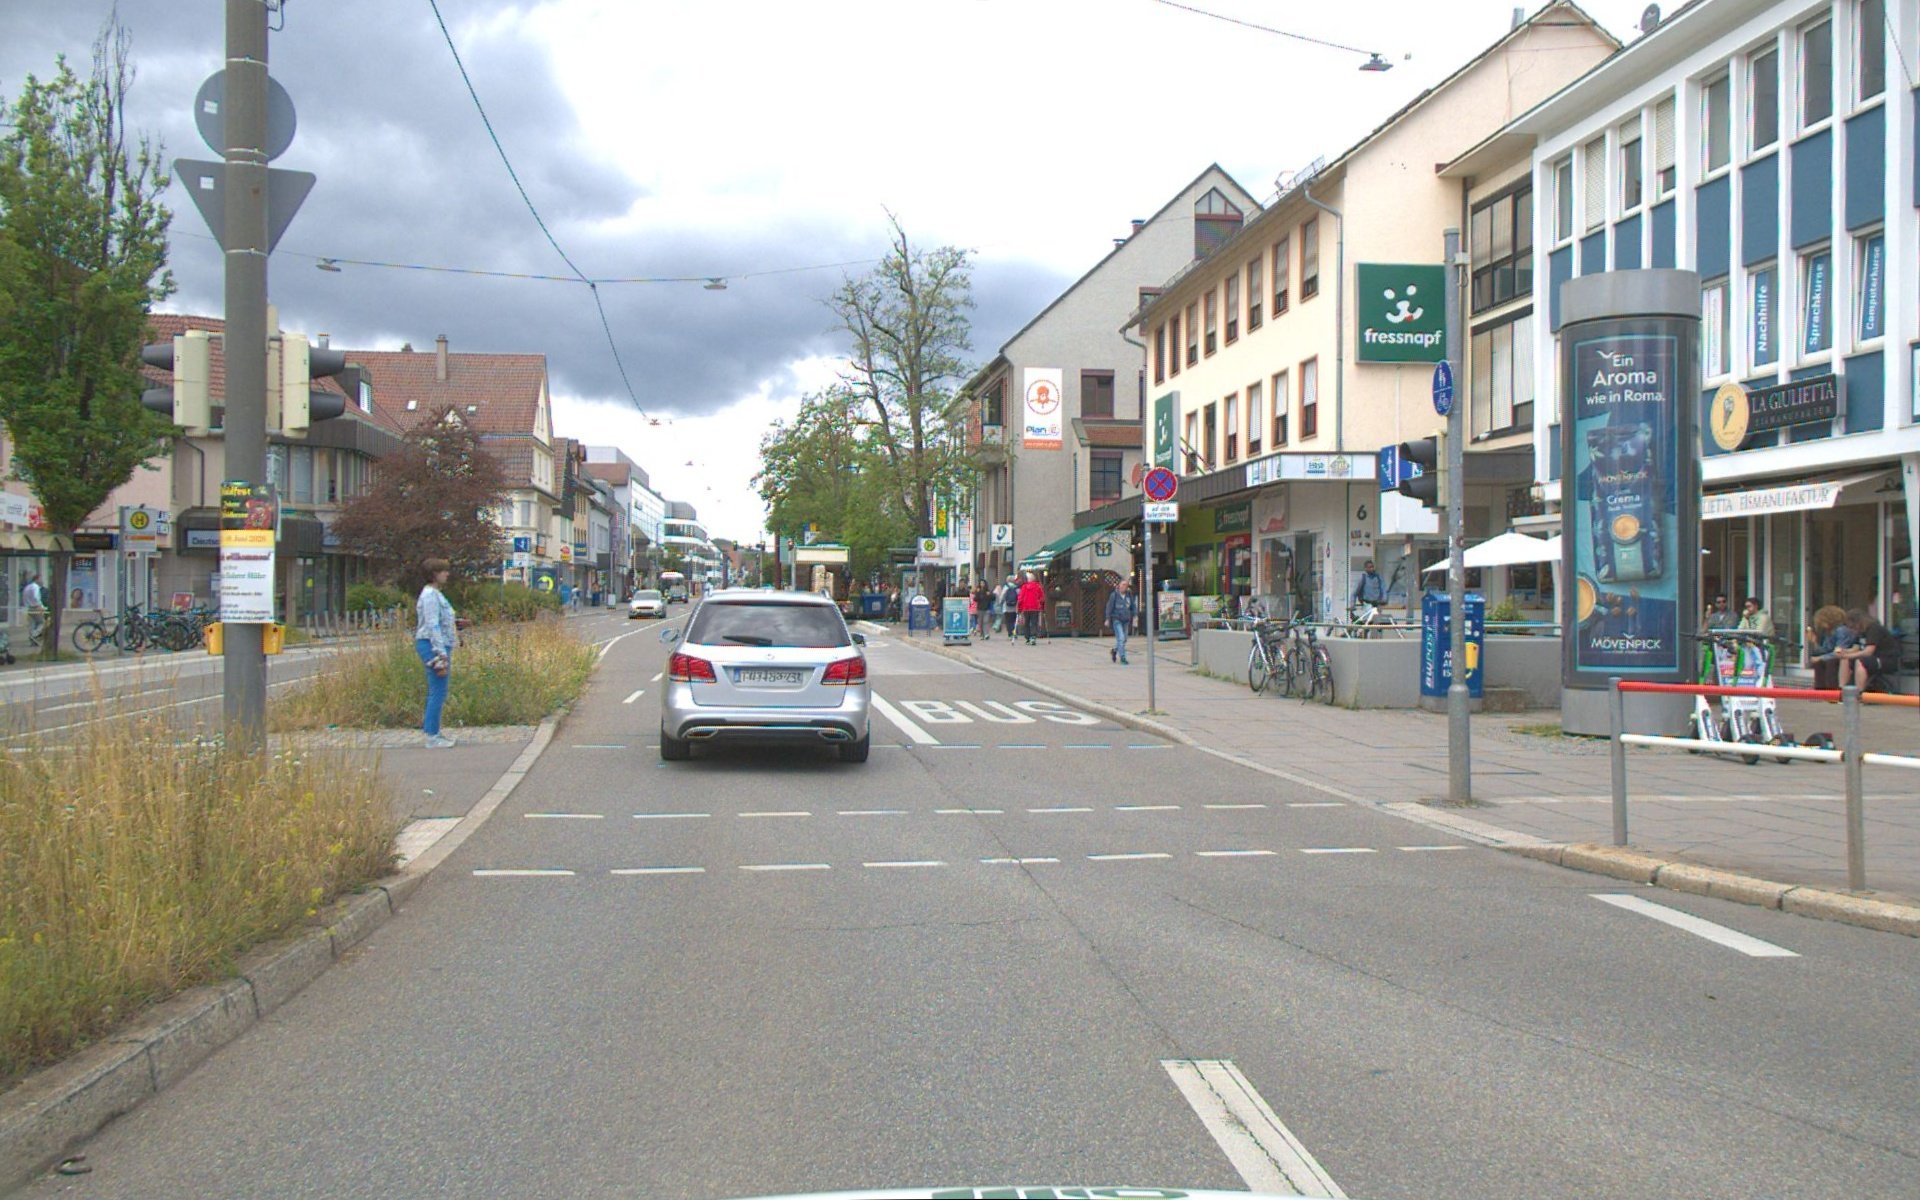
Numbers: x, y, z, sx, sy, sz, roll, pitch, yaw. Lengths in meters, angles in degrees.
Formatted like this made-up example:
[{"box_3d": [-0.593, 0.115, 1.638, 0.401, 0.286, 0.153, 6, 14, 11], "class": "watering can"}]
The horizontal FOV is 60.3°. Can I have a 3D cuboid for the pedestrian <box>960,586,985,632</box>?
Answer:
[{"box_3d": [0.438, 0.315, 60.234, 0.606, 1.663, 0.786, 0, 1, -29], "class": "pedestrian"}]

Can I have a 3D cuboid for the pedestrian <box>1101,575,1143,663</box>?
[{"box_3d": [3.095, 0.354, 31.657, 0.674, 1.663, 0.852, 0, 0, -4], "class": "pedestrian"}]

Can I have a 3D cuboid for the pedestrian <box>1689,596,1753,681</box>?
[{"box_3d": [11.472, 0.574, 24.944, 0.602, 1.241, 0.587, 3, 0, -10], "class": "pedestrian"}]

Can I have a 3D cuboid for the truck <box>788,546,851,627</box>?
[{"box_3d": [-6.823, -0.632, 79.379, 2.637, 3.623, 9.751, 0, 0, -7], "class": "truck"}]

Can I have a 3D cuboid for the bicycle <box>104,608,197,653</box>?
[{"box_3d": [-20.389, 0.767, 41.678, 1.982, 1.109, 0.647, 0, 0, -12], "class": "bicycle"}]

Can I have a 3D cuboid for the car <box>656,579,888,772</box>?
[{"box_3d": [-1.799, 0.608, 15.290, 1.839, 1.532, 3.992, 1, 0, -9], "class": "car"}]

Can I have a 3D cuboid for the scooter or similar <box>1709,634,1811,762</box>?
[{"box_3d": [7.762, 0.929, 16.092, 0.308, 1.152, 1.207, 0, 0, -6], "class": "scooter or similar"}]

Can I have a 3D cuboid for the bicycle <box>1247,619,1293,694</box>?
[{"box_3d": [4.359, 0.778, 23.311, 0.268, 0.991, 1.385, 0, 1, -6], "class": "bicycle"}]

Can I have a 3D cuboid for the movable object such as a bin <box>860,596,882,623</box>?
[{"box_3d": [-4.628, 0.498, 85.984, 1.121, 1.363, 1.374, 0, 0, -5], "class": "movable object such as a bin"}]

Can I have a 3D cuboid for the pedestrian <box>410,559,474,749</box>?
[{"box_3d": [-4.647, 0.466, 14.863, 0.494, 1.663, 0.661, 0, 0, -13], "class": "pedestrian"}]

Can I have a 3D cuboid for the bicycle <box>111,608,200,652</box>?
[{"box_3d": [-20.750, 0.763, 42.693, 1.985, 1.109, 0.646, 0, 0, -17], "class": "bicycle"}]

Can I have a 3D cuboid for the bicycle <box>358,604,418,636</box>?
[{"box_3d": [-20.417, 0.717, 59.105, 1.985, 1.109, 0.646, 0, 0, -17], "class": "bicycle"}]

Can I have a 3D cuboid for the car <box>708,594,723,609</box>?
[{"box_3d": [-26.600, 0.147, 180.156, 1.541, 1.567, 2.954, 2, 0, -9], "class": "car"}]

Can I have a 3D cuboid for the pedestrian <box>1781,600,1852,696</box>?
[{"box_3d": [11.420, 0.631, 22.052, 0.602, 1.241, 0.587, -1, 1, -9], "class": "pedestrian"}]

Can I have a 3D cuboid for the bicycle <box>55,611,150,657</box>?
[{"box_3d": [-21.053, 0.828, 40.657, 1.989, 1.109, 0.645, 1, 0, -21], "class": "bicycle"}]

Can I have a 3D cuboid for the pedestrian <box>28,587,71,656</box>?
[{"box_3d": [-24.415, 0.579, 44.360, 0.712, 1.794, 0.754, 3, 0, -9], "class": "pedestrian"}]

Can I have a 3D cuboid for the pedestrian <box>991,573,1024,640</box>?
[{"box_3d": [1.297, 0.186, 44.885, 0.670, 1.772, 0.779, -2, -1, -12], "class": "pedestrian"}]

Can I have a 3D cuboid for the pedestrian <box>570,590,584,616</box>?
[{"box_3d": [-25.141, 0.165, 108.498, 0.802, 1.663, 0.977, 2, 0, -12], "class": "pedestrian"}]

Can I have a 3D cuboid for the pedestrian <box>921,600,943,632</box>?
[{"box_3d": [-1.073, 0.607, 62.582, 0.699, 1.186, 0.586, 1, 1, -14], "class": "pedestrian"}]

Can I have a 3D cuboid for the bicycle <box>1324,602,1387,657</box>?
[{"box_3d": [7.316, 0.535, 30.640, 0.270, 0.991, 1.374, 0, 1, -29], "class": "bicycle"}]

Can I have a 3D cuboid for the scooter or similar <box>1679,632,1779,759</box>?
[{"box_3d": [7.428, 0.901, 16.018, 0.308, 1.152, 1.207, 0, 0, -6], "class": "scooter or similar"}]

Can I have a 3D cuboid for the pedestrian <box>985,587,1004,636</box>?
[{"box_3d": [1.197, 0.394, 56.980, 0.575, 1.663, 0.614, 0, 0, -6], "class": "pedestrian"}]

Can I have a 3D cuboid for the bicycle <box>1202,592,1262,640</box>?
[{"box_3d": [6.436, 0.362, 39.243, 0.727, 1.081, 2.346, -1, 0, -9], "class": "bicycle"}]

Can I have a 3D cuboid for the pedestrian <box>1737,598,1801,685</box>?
[{"box_3d": [11.876, 0.605, 24.289, 0.602, 1.241, 0.587, 1, 0, -9], "class": "pedestrian"}]

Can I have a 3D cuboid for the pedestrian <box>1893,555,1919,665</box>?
[{"box_3d": [13.234, 0.143, 22.557, 0.601, 1.486, 0.587, 3, 0, -8], "class": "pedestrian"}]

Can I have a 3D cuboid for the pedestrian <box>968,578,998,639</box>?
[{"box_3d": [0.642, 0.235, 45.749, 0.705, 1.663, 0.613, -1, -1, -10], "class": "pedestrian"}]

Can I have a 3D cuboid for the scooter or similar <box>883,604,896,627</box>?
[{"box_3d": [-2.900, 0.635, 68.093, 0.349, 0.976, 0.383, 0, 0, 42], "class": "scooter or similar"}]

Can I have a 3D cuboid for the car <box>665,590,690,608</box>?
[{"box_3d": [-28.149, -0.120, 164.841, 2.028, 1.768, 4.688, -2, 1, -5], "class": "car"}]

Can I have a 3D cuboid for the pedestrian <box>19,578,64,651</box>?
[{"box_3d": [-23.333, 0.353, 42.023, 0.712, 1.794, 0.754, 3, 0, -9], "class": "pedestrian"}]

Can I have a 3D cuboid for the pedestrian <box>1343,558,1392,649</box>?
[{"box_3d": [7.540, 0.063, 30.632, 0.653, 1.663, 0.799, 0, 0, -6], "class": "pedestrian"}]

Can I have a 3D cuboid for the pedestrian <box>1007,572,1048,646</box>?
[{"box_3d": [1.663, 0.227, 40.862, 0.781, 1.772, 0.779, -2, -1, -13], "class": "pedestrian"}]

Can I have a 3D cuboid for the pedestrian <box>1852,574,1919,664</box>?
[{"box_3d": [13.180, 0.264, 23.501, 0.601, 1.241, 0.587, 3, 0, -8], "class": "pedestrian"}]

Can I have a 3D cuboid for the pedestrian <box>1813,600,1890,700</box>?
[{"box_3d": [11.544, 0.636, 21.435, 0.602, 1.241, 0.587, 3, 0, -10], "class": "pedestrian"}]

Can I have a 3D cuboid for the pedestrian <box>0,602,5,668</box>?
[{"box_3d": [-20.423, 0.731, 34.484, 0.698, 1.388, 0.587, 1, 1, -5], "class": "pedestrian"}]

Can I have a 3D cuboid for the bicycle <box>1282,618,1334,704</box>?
[{"box_3d": [4.583, 0.786, 21.837, 0.268, 1.071, 1.385, 0, 1, -6], "class": "bicycle"}]

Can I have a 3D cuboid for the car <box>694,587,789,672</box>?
[{"box_3d": [-4.223, 0.542, 32.220, 1.721, 1.547, 3.994, 0, 0, -7], "class": "car"}]

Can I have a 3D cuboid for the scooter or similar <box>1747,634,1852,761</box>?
[{"box_3d": [8.157, 0.927, 16.099, 0.308, 1.152, 1.207, 0, 0, -6], "class": "scooter or similar"}]

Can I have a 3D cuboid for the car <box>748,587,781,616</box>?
[{"box_3d": [-11.935, 0.072, 101.090, 1.955, 1.713, 3.994, 0, 0, -6], "class": "car"}]

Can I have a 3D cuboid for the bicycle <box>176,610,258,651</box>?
[{"box_3d": [-20.452, 0.831, 45.544, 1.985, 1.109, 0.646, 0, 0, -17], "class": "bicycle"}]

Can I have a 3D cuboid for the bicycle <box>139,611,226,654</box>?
[{"box_3d": [-20.631, 0.851, 43.924, 1.985, 1.109, 0.646, 0, 0, -17], "class": "bicycle"}]

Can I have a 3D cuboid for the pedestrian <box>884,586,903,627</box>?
[{"box_3d": [-2.754, 0.279, 68.558, 0.529, 1.663, 0.582, 3, 0, -31], "class": "pedestrian"}]

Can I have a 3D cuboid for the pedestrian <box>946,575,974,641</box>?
[{"box_3d": [-0.006, 0.215, 43.659, 0.600, 1.707, 0.614, 3, 0, -5], "class": "pedestrian"}]

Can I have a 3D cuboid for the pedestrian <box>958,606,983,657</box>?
[{"box_3d": [0.341, 1.016, 53.252, 0.658, 1.594, 0.492, 2, 1, 13], "class": "pedestrian"}]

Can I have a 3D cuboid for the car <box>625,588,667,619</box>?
[{"box_3d": [-16.477, 0.170, 86.957, 1.838, 1.532, 4.337, -1, 0, -7], "class": "car"}]

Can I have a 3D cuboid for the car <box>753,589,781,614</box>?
[{"box_3d": [-13.709, 0.092, 117.522, 1.955, 1.713, 3.994, 0, 0, -6], "class": "car"}]

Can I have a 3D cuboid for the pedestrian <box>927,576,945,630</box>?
[{"box_3d": [-0.940, 0.127, 65.199, 0.600, 2.082, 0.588, -2, -1, 6], "class": "pedestrian"}]

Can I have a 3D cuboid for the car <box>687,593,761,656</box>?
[{"box_3d": [-6.634, 0.652, 46.842, 1.955, 1.713, 3.994, 0, 0, -6], "class": "car"}]

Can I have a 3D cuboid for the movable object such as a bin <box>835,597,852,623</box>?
[{"box_3d": [-6.036, 0.510, 86.015, 0.864, 1.363, 1.084, 0, 0, -5], "class": "movable object such as a bin"}]

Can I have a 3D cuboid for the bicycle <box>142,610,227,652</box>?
[{"box_3d": [-20.890, 0.816, 44.590, 1.985, 1.109, 0.646, 0, 0, -17], "class": "bicycle"}]

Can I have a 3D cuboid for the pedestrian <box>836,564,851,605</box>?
[{"box_3d": [-5.203, -0.692, 74.039, 0.602, 1.811, 0.586, 0, -1, -11], "class": "pedestrian"}]
